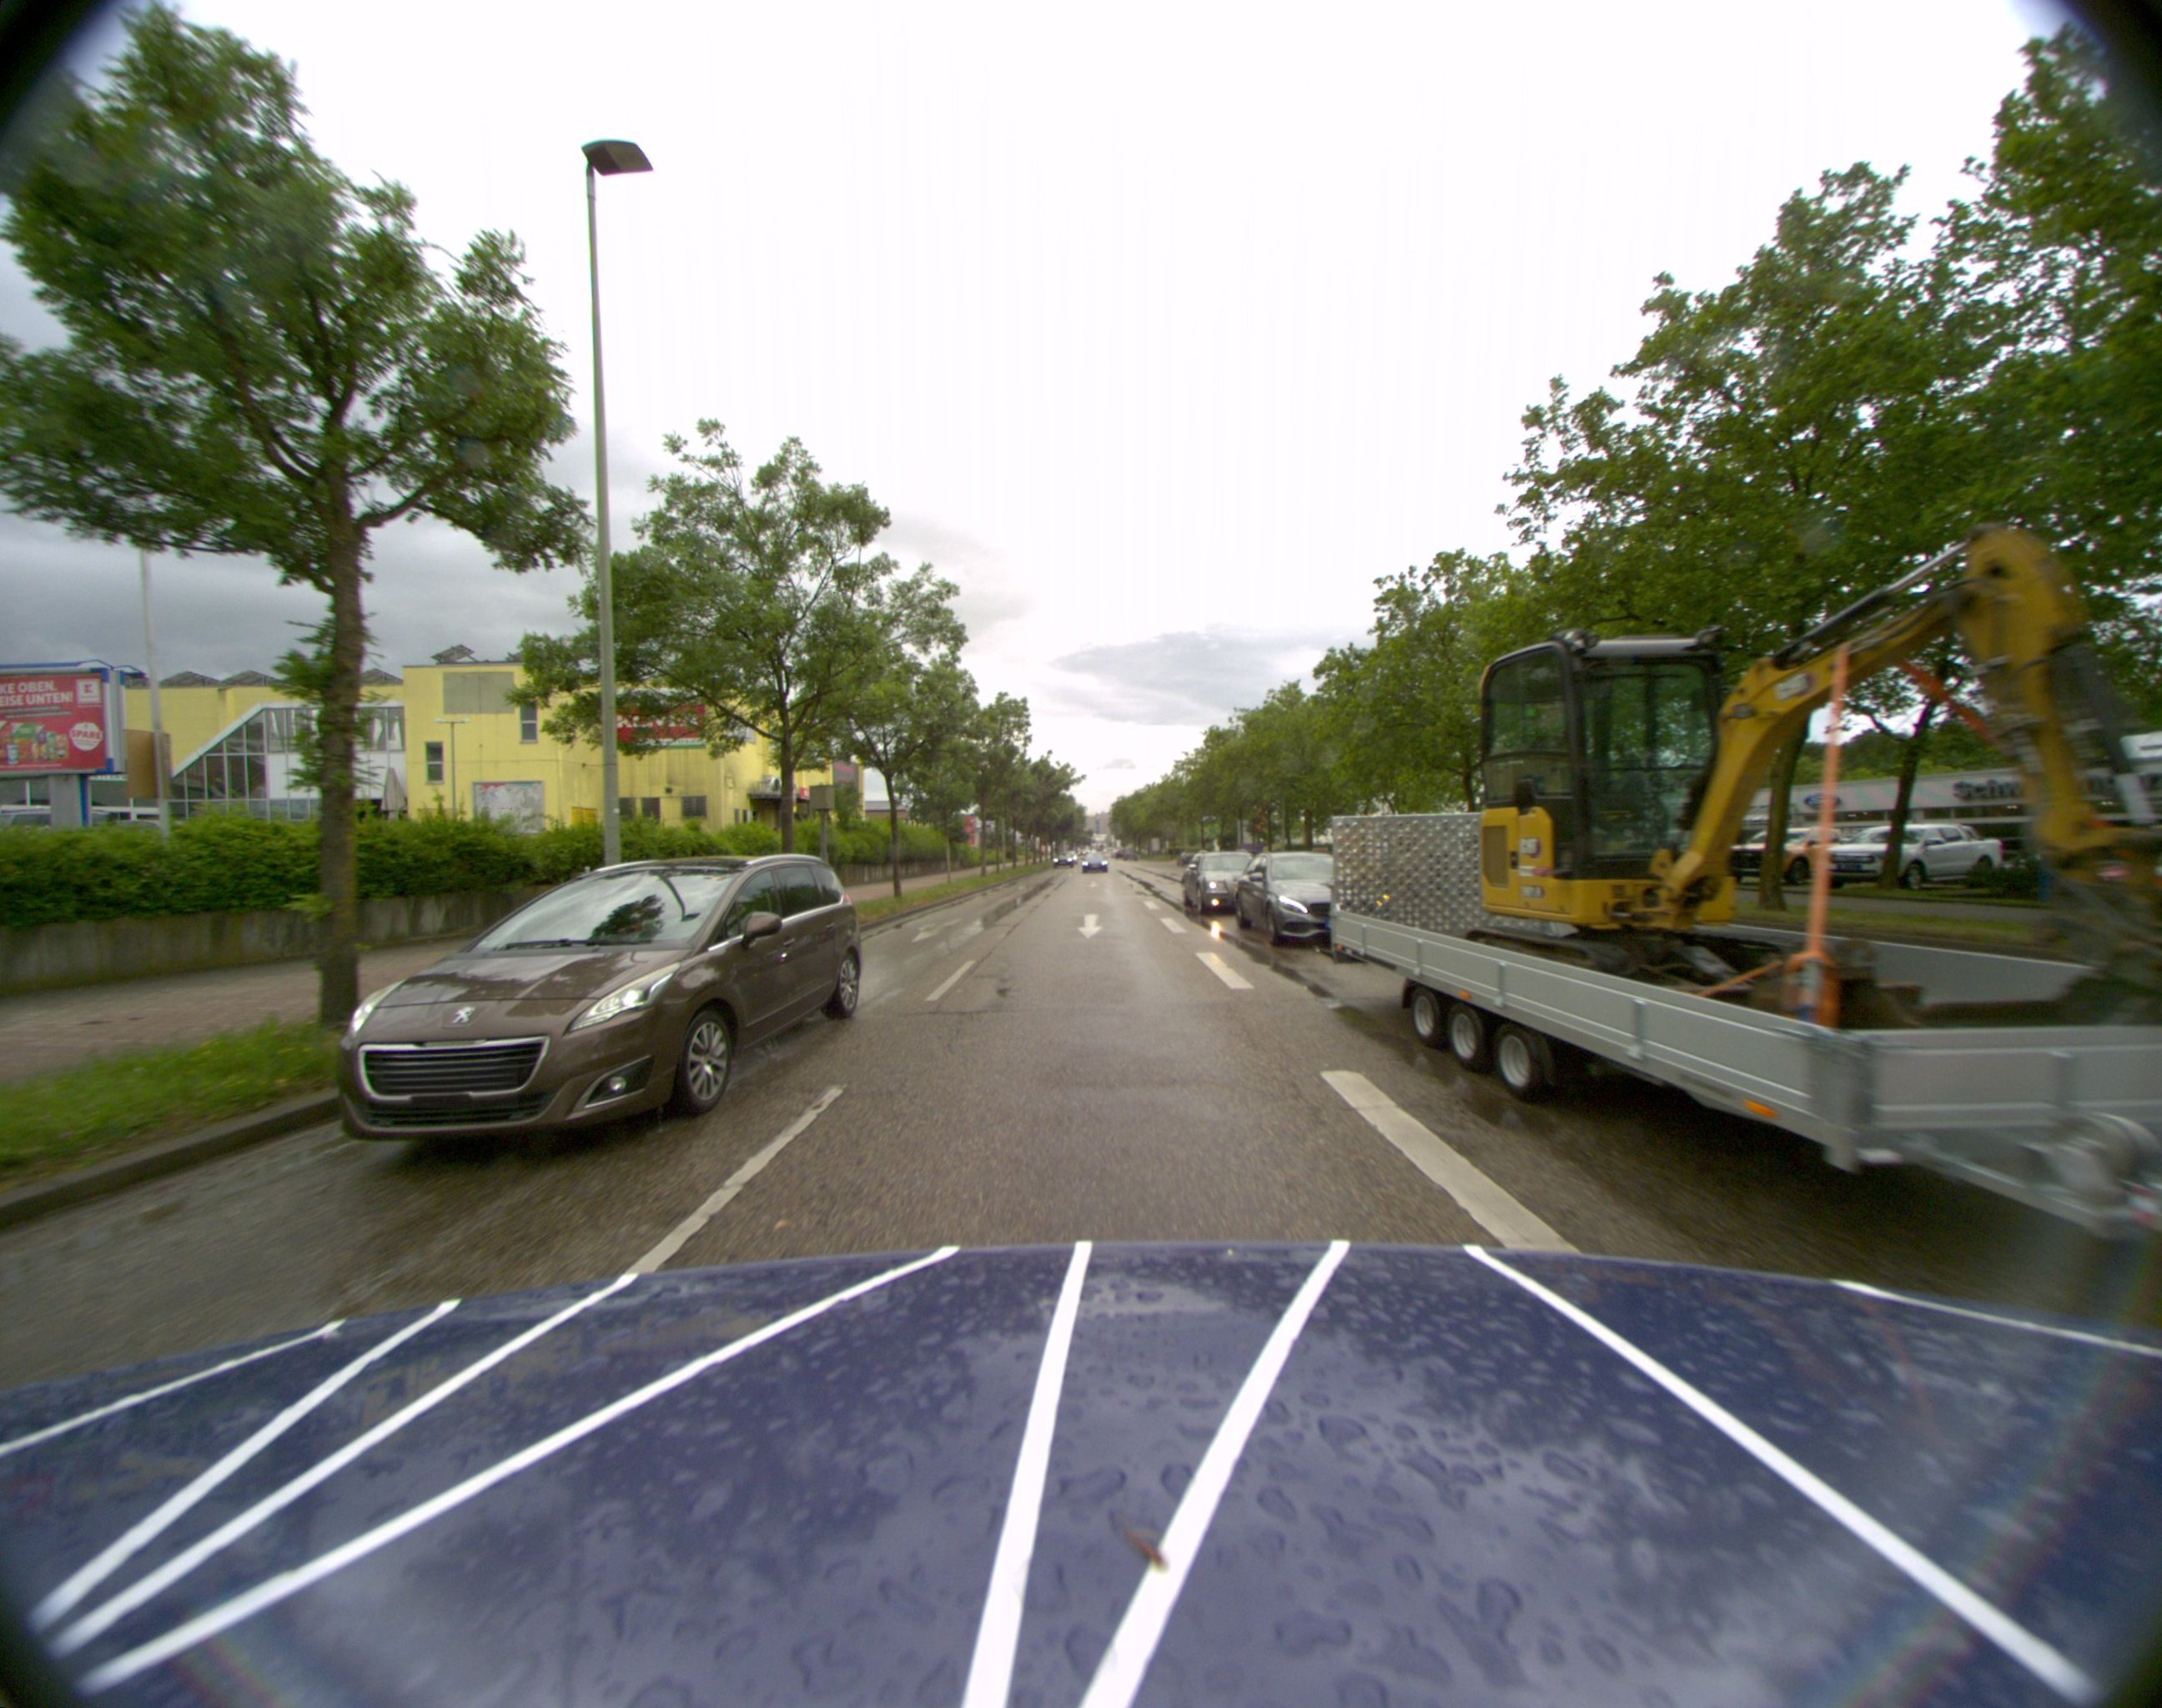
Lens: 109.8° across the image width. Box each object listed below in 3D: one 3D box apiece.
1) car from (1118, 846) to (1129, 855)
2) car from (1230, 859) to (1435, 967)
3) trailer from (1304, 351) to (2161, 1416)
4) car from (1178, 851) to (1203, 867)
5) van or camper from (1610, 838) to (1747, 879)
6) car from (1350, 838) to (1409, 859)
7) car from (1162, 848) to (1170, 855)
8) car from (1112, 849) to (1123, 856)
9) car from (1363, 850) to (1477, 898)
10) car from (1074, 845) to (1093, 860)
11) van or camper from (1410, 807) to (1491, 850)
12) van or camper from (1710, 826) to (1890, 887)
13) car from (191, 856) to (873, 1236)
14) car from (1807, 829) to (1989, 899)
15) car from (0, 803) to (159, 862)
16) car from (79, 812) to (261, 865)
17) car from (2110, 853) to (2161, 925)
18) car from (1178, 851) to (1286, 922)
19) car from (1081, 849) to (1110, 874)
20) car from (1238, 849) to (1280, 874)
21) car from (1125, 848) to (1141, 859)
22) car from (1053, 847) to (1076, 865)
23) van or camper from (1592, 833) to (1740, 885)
[{"bbox_3d":[6.993,-0.588,124.881,1.767,1.522,3.858,1,1,1],"label":"car"},{"bbox_3d":[3.850,0.816,12.558,1.998,1.420,4.554,1,0,2],"label":"car"},{"bbox_3d":[3.437,0.063,4.837,2.379,2.880,5.544,-1,1,0],"label":"trailer"},{"bbox_3d":[10.439,0.481,72.767,1.741,1.421,4.537,0,1,0],"label":"car"},{"bbox_3d":[26.961,0.199,34.494,4.635,1.774,1.842,-1,1,26],"label":"van or camper"},{"bbox_3d":[30.200,-0.535,76.992,5.058,2.002,2.129,-1,1,-1],"label":"car"},{"bbox_3d":[21.612,-0.681,193.947,1.746,1.525,4.000,1,1,2],"label":"car"},{"bbox_3d":[6.991,-0.263,146.406,1.999,1.421,4.684,0,1,0],"label":"car"},{"bbox_3d":[11.182,0.608,25.383,1.715,1.456,4.083,0,1,-5],"label":"car"},{"bbox_3d":[0.339,-0.241,90.341,1.998,1.633,4.360,-3,1,2],"label":"car"},{"bbox_3d":[22.834,-1.513,47.329,1.998,2.456,6.401,-2,1,1],"label":"van or camper"},{"bbox_3d":[23.403,-0.004,24.727,5.381,1.760,2.100,-1,4,-22],"label":"van or camper"},{"bbox_3d":[-3.135,0.898,5.726,1.731,1.615,4.470,-3,1,1],"label":"car"},{"bbox_3d":[23.053,0.234,21.455,4.473,1.805,1.996,-1,1,-22],"label":"car"},{"bbox_3d":[-32.470,-0.643,23.915,4.382,1.729,2.000,-1,0,-1],"label":"car"},{"bbox_3d":[-32.321,-0.536,27.073,3.997,1.768,2.000,-1,0,-1],"label":"car"},{"bbox_3d":[24.809,0.736,16.655,4.474,1.442,1.995,-1,1,-28],"label":"car"},{"bbox_3d":[3.703,0.718,19.516,1.912,1.569,4.880,0,1,1],"label":"car"},{"bbox_3d":[1.062,0.513,55.087,1.998,1.633,4.360,-3,1,2],"label":"car"},{"bbox_3d":[11.314,0.446,48.574,1.714,1.456,4.084,0,1,-1],"label":"car"},{"bbox_3d":[7.233,-0.128,106.342,1.671,1.454,4.179,0,1,-3],"label":"car"},{"bbox_3d":[-1.618,0.151,75.124,1.998,1.633,4.360,-3,1,2],"label":"car"},{"bbox_3d":[22.252,0.135,28.888,5.306,1.811,2.262,-1,1,-24],"label":"van or camper"}]
